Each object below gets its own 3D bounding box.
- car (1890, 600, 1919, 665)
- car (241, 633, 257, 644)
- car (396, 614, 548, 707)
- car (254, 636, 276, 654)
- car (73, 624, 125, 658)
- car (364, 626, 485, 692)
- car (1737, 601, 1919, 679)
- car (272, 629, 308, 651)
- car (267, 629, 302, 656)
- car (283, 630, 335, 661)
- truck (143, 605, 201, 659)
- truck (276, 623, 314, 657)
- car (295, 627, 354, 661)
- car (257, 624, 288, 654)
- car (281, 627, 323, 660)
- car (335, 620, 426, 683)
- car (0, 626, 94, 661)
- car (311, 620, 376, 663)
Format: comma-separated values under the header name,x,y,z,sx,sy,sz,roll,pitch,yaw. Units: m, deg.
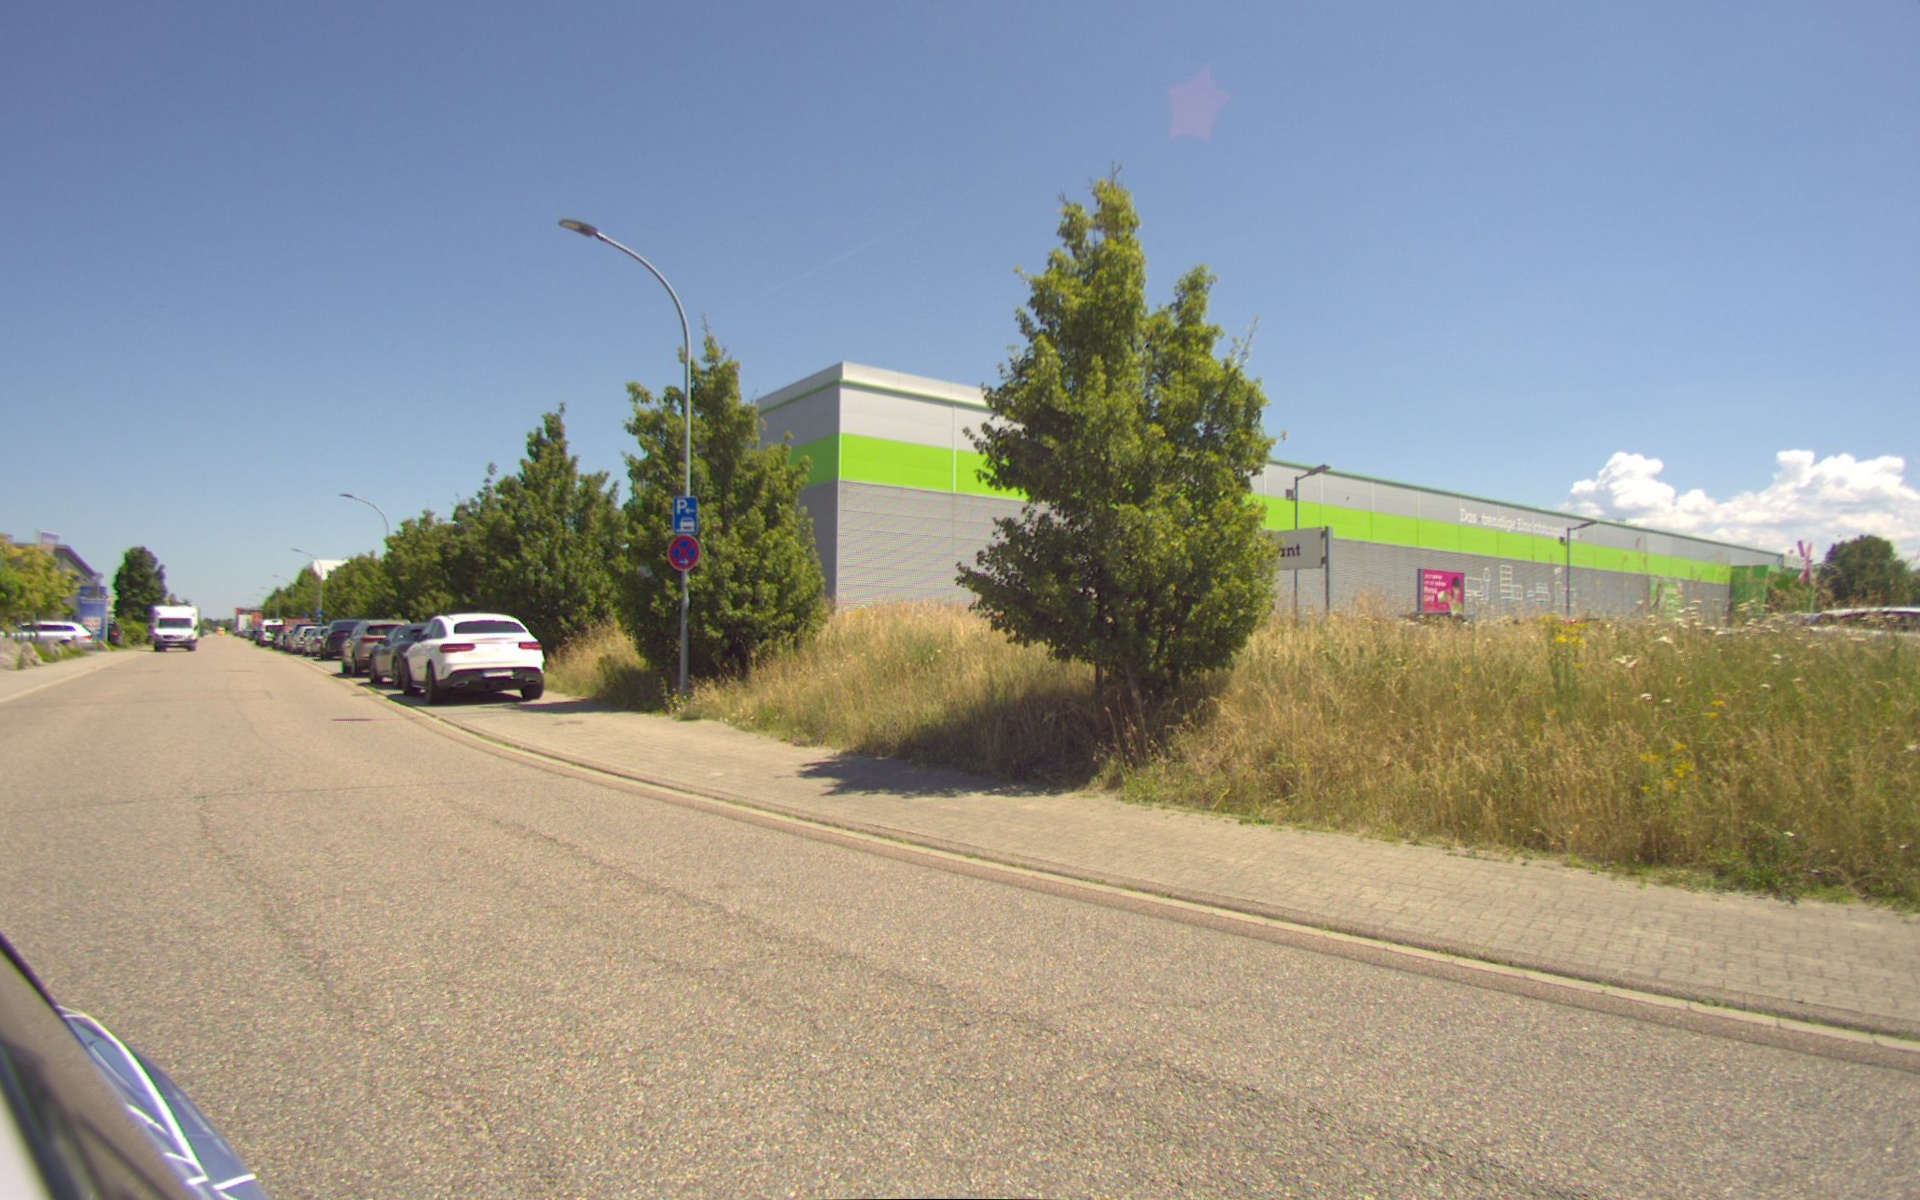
name,x,y,z,sx,sy,sz,roll,pitch,yaw
car,24.401,0.730,23.370,1.968,1.556,4.007,1,-3,-38
car,-105.907,5.691,150.682,1.770,1.660,3.839,2,-3,-37
car,-10.024,1.161,20.598,1.887,1.668,4.765,2,-2,-37
car,-73.656,4.798,107.232,1.807,1.824,4.092,0,-2,-35
car,-56.488,2.677,66.490,1.967,2.029,5.350,-3,0,-34
car,-13.424,1.413,25.224,1.888,1.503,4.421,2,-3,-38
car,17.845,0.769,19.628,1.968,1.423,4.007,1,-3,-38
car,-47.513,2.817,71.731,1.827,1.562,3.774,2,-3,-38
car,-51.258,3.240,76.793,1.948,1.915,5.414,0,-2,-36
car,-34.938,2.424,54.268,1.828,1.530,4.914,0,-2,-39
truck,-49.930,2.118,64.233,2.424,3.230,6.899,3,-4,-35
truck,-44.751,2.691,68.066,1.827,2.239,4.656,0,-2,-37
car,-31.062,2.158,49.411,1.828,1.530,5.176,0,-2,-39
car,-63.658,3.612,93.657,2.292,2.618,6.099,0,-2,-35
car,-38.381,2.527,59.014,1.827,1.772,4.998,0,-2,-36
car,-17.540,1.519,30.538,1.887,1.726,4.422,0,-2,-37
car,-43.239,2.047,47.165,4.225,1.553,1.916,3,-4,-39
car,-26.727,1.778,43.798,1.965,1.726,5.018,0,-2,-36
